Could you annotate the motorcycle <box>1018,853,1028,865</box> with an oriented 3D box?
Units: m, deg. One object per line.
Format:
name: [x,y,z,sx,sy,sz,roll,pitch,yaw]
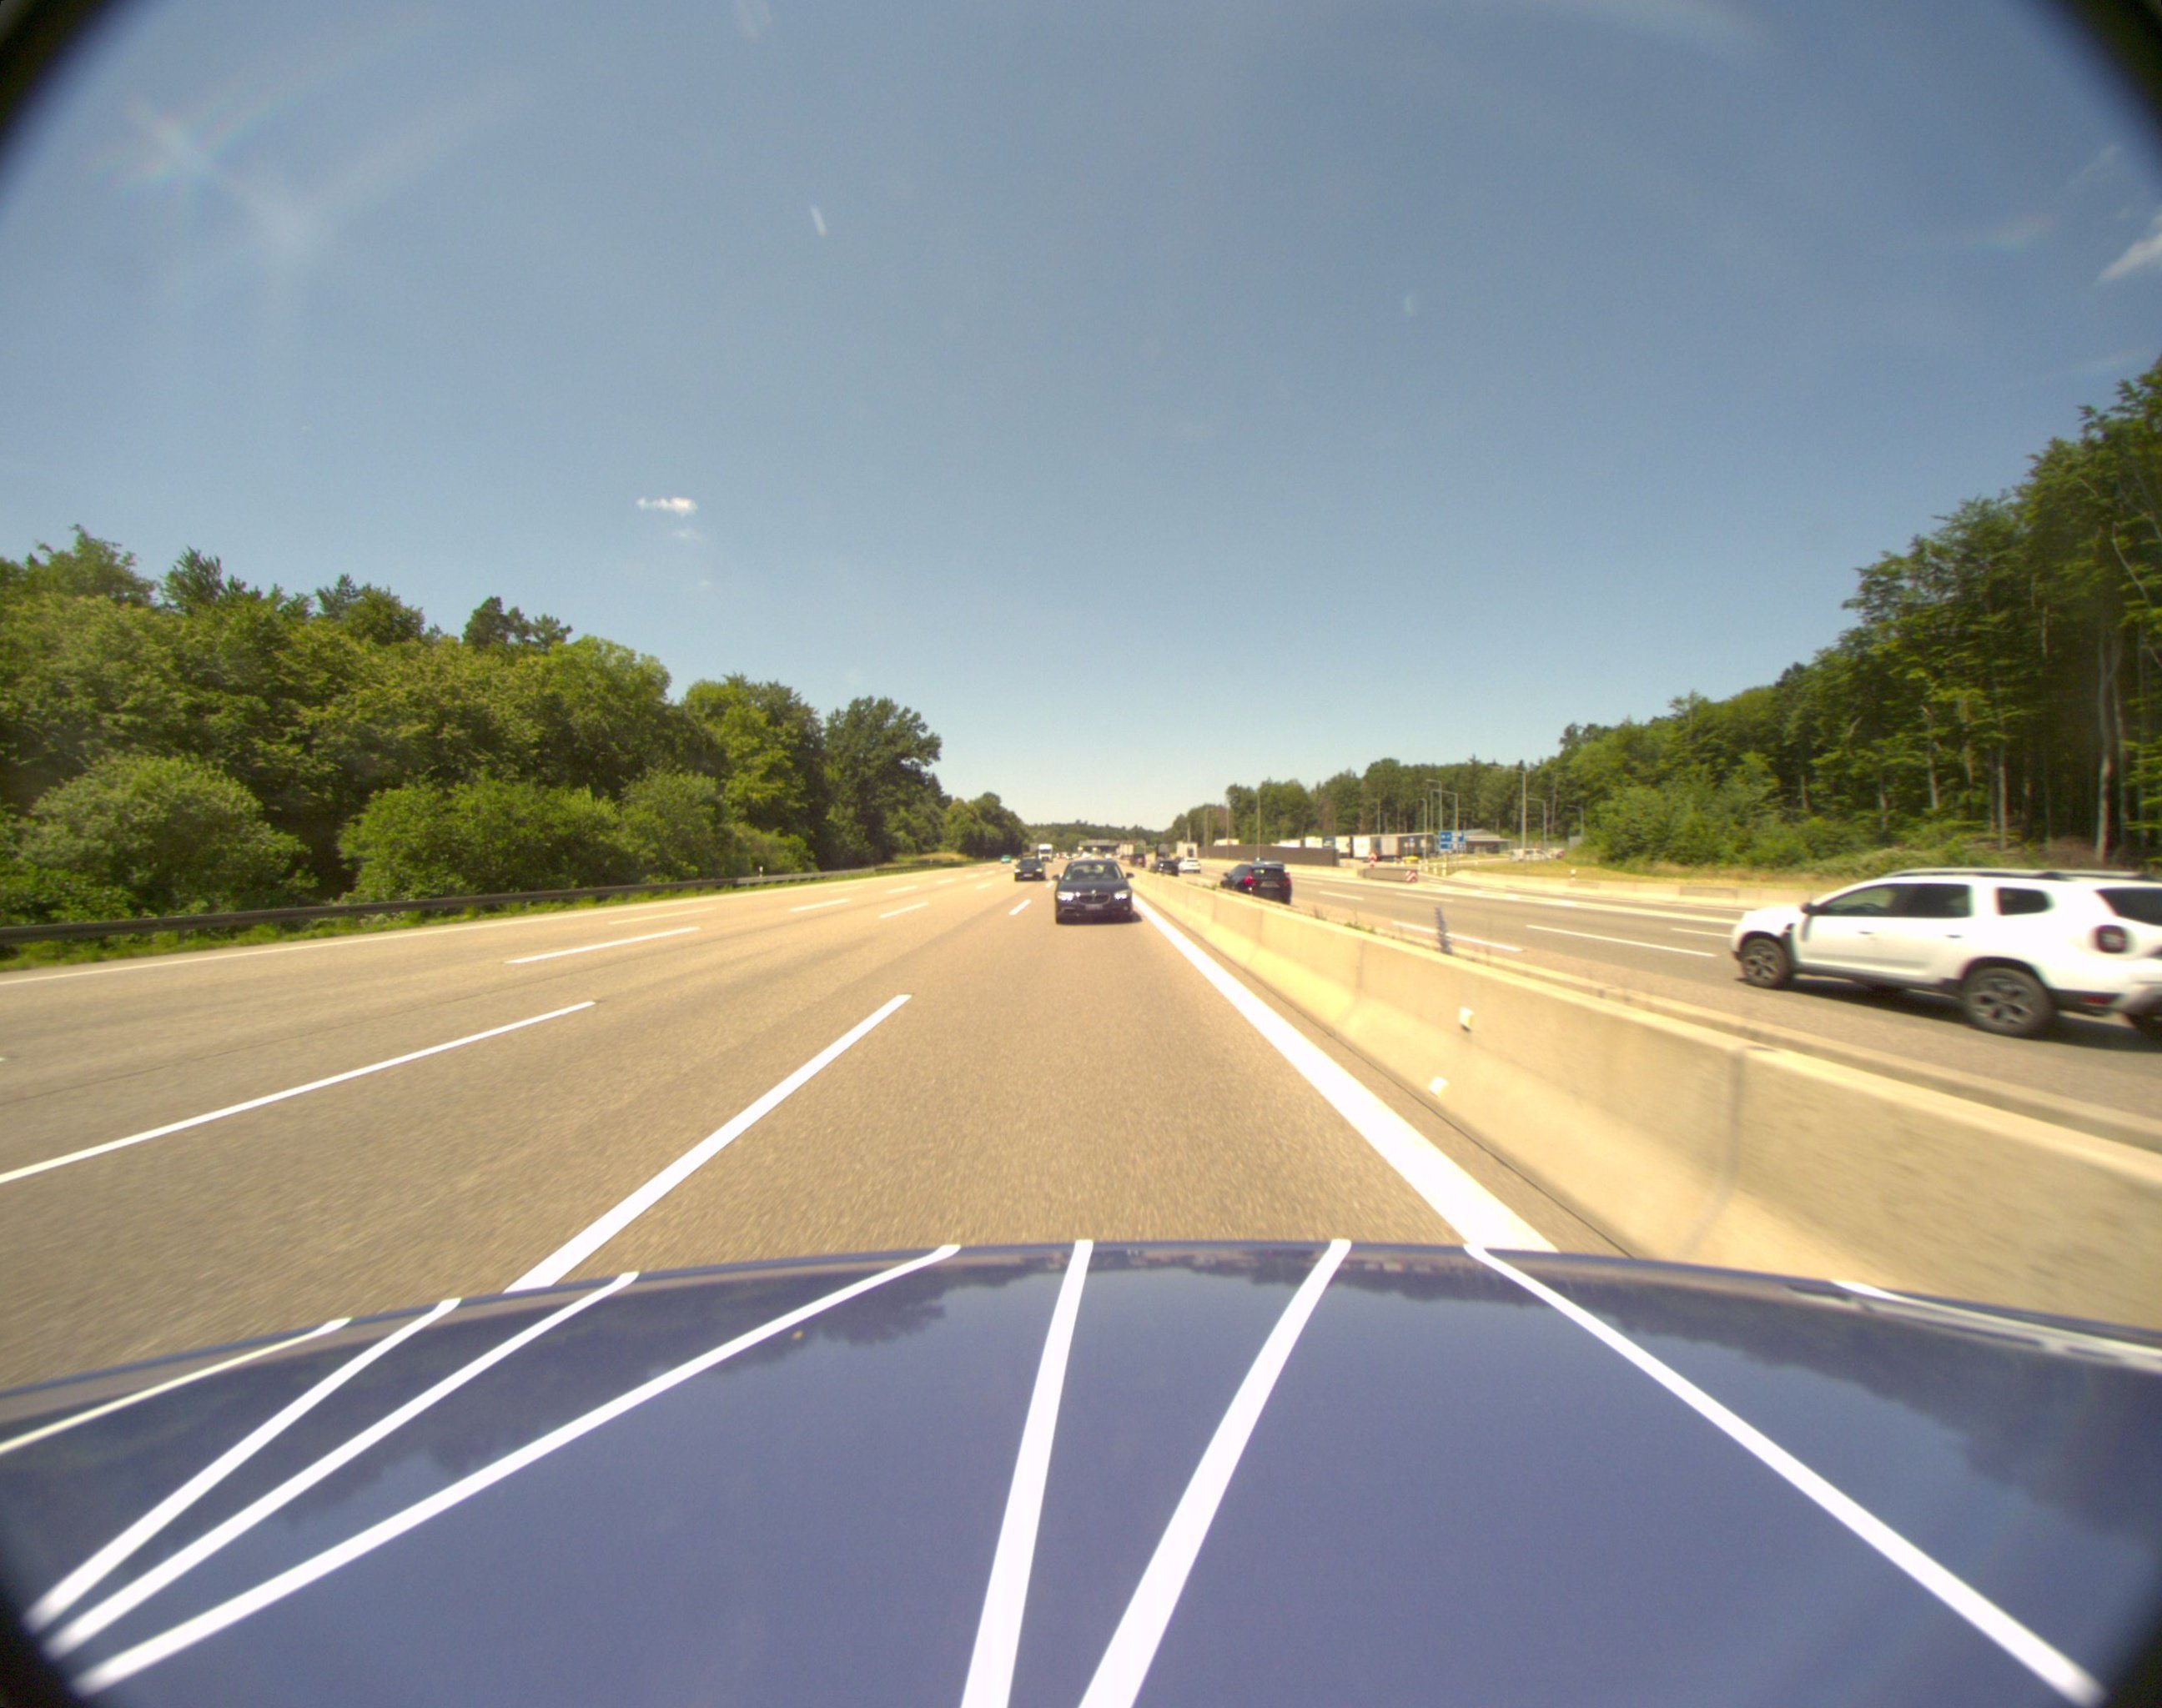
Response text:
motorcycle: [-6.650,0.597,87.091,0.925,1.311,2.997,0,0,1]

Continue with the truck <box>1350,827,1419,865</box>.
truck: [47.703,-1.208,119.017,16.746,5.580,3.441,0,1,-44]

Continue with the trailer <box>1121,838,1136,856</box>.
trailer: [12.064,-1.722,193.284,3.031,4.201,14.466,1,0,0]

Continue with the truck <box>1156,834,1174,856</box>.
truck: [15.027,-1.590,136.533,2.584,3.819,7.016,1,0,1]

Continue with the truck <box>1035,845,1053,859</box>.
truck: [-7.577,-0.411,155.863,2.660,2.839,10.886,1,1,3]

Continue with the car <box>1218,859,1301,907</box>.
car: [6.193,0.968,26.837,1.917,1.456,4.363,0,1,0]

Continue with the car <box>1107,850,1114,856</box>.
car: [7.934,-0.270,203.225,1.752,1.449,4.155,0,0,-1]

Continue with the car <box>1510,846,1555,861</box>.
car: [59.506,-0.041,100.260,4.733,2.002,2.088,0,1,15]

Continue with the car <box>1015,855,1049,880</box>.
car: [-3.013,0.811,47.602,1.834,1.454,4.204,0,1,1]

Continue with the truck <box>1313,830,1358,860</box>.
truck: [48.406,-1.705,144.187,11.562,5.580,3.219,-1,1,-45]

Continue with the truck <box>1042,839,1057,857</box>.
truck: [-5.793,-1.071,141.608,2.428,3.237,8.689,0,1,1]

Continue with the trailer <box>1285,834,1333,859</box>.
trailer: [49.567,-1.619,164.760,14.597,5.043,3.214,-1,1,-45]

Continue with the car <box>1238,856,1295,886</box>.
car: [10.140,0.890,41.973,1.917,1.503,5.231,1,0,0]

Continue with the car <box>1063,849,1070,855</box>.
car: [-4.314,-0.601,227.057,1.874,1.560,4.128,0,0,1]

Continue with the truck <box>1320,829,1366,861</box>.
truck: [47.913,-1.656,138.685,11.562,5.580,3.219,-1,1,-45]

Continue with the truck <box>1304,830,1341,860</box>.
truck: [46.950,-1.744,147.556,8.506,5.580,3.219,-1,1,-45]

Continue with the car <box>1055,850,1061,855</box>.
car: [-7.667,-0.409,249.164,1.747,1.529,4.127,0,1,1]

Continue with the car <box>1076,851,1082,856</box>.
car: [-0.578,-0.164,255.308,1.910,1.450,4.127,1,1,2]

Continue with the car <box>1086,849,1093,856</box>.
car: [2.359,-0.445,209.070,1.998,1.935,4.128,0,0,2]

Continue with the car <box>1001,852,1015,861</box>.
car: [-13.131,0.471,137.366,1.998,1.671,4.127,1,1,2]

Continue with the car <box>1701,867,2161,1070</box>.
car: [10.083,1.029,8.845,1.917,1.651,4.689,1,0,0]

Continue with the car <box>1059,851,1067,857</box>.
car: [-4.941,-0.063,206.912,1.874,1.560,4.128,0,0,1]

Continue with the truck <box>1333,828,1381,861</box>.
truck: [49.178,-1.610,135.208,11.562,5.580,3.358,-1,1,-45]

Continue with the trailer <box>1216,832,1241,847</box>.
trailer: [32.998,-3.136,170.480,2.979,3.106,14.608,0,1,1]

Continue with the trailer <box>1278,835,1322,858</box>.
trailer: [50.838,-1.719,175.992,14.597,5.043,3.120,-1,1,-45]

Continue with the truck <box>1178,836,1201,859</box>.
truck: [19.646,-1.171,137.992,2.842,4.173,10.595,0,1,1]

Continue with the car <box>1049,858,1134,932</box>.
car: [0.295,0.892,18.504,1.741,1.450,4.542,-3,0,2]

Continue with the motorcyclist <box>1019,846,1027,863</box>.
motorcyclist: [-6.646,0.076,87.060,0.914,1.926,0.905,0,1,1]

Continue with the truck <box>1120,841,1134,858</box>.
truck: [12.150,-1.217,200.214,3.055,4.113,6.948,2,1,0]

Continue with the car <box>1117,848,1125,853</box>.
car: [12.283,-1.060,232.008,1.999,1.478,5.018,1,0,-1]

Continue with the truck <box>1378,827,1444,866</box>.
truck: [51.129,-1.162,117.331,16.746,5.580,3.214,0,1,-44]

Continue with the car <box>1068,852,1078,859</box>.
car: [-1.866,0.352,174.848,1.998,1.671,4.127,1,1,2]

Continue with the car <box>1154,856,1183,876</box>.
car: [7.066,0.975,61.848,1.917,1.456,4.587,0,1,0]

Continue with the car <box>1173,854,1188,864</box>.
car: [15.016,0.727,114.647,1.757,1.478,3.814,2,0,0]

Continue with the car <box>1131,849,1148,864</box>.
car: [7.536,0.318,98.410,1.903,1.942,5.656,1,0,0]

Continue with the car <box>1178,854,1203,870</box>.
car: [10.698,0.732,74.363,1.765,1.455,4.839,0,0,0]
